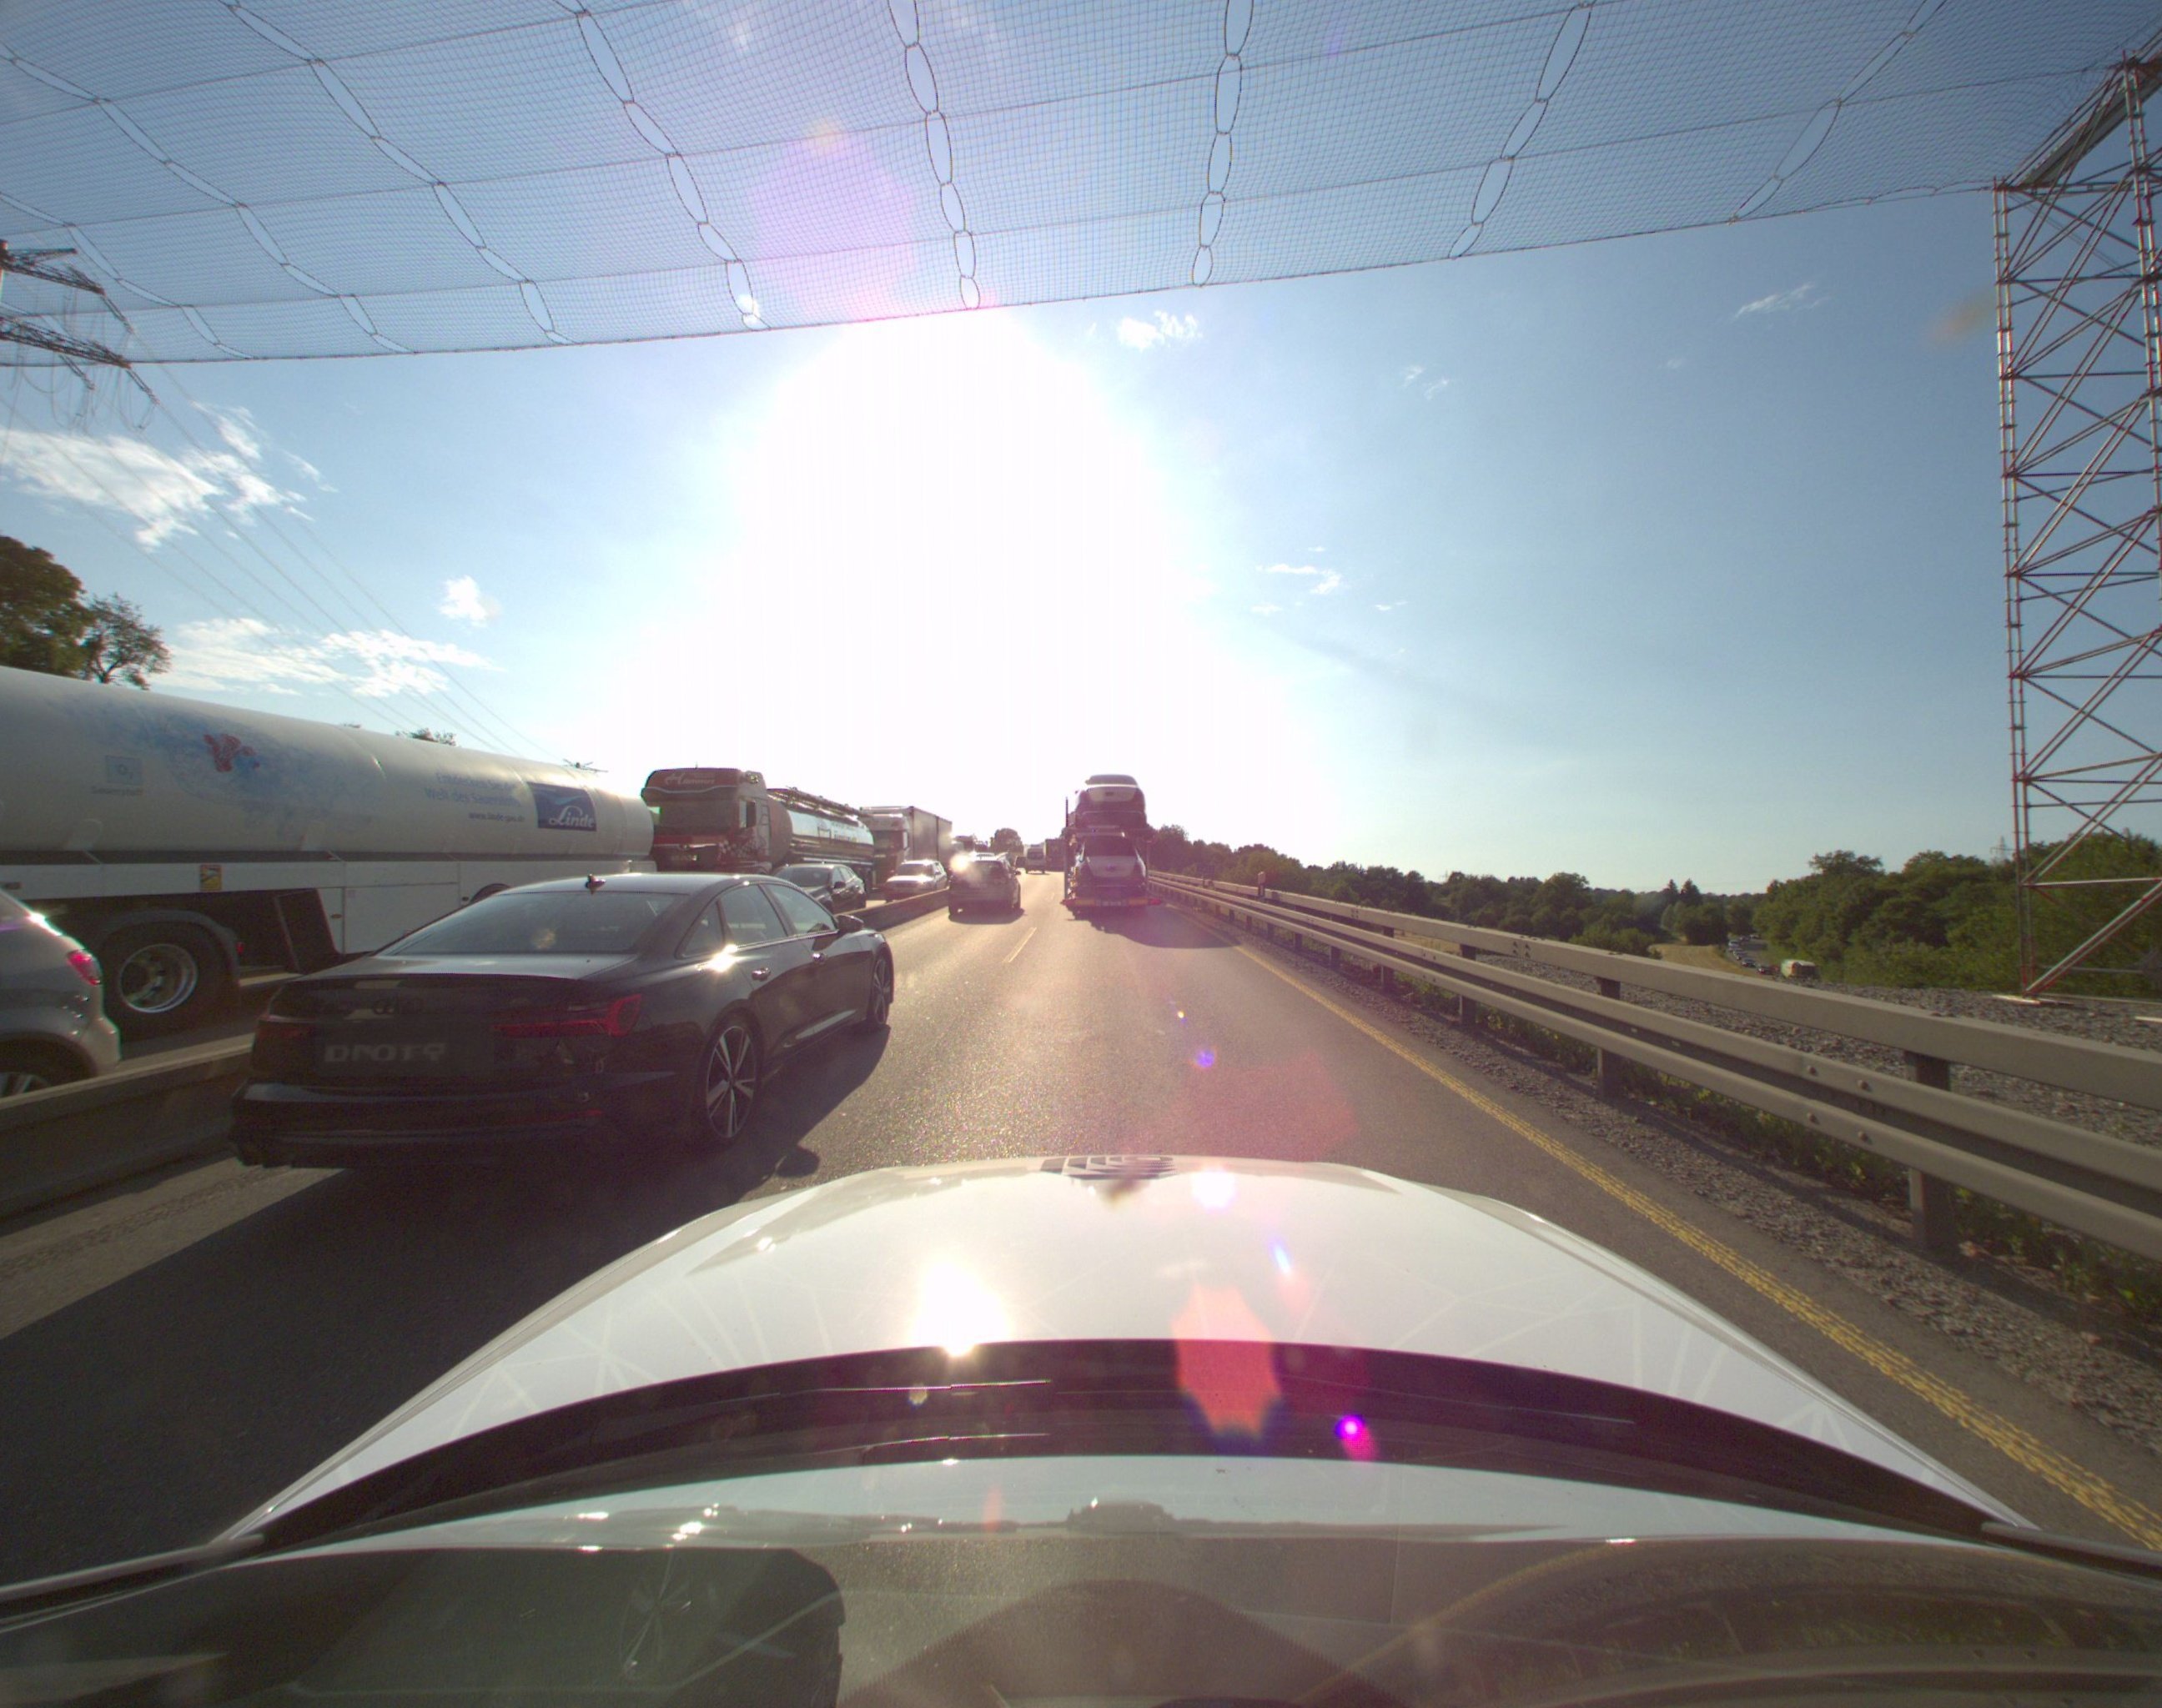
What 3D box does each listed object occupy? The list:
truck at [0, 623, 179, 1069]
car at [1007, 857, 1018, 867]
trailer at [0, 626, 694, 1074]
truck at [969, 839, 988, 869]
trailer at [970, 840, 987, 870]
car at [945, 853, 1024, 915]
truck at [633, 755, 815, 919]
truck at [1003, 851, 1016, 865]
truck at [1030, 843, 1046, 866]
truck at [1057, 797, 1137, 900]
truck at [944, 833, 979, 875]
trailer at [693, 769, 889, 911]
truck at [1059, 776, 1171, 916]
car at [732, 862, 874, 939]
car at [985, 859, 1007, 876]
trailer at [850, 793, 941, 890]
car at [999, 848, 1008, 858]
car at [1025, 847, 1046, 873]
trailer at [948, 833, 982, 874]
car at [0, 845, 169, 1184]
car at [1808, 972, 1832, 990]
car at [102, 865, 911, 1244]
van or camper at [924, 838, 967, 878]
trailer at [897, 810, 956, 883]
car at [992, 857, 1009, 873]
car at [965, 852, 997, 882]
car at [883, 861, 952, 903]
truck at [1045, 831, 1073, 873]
[{"bbox_3d":[-9.405,-0.074,4.523,2.405,3.370,5.618,-1,-1,1],"label":"truck"},{"bbox_3d":[-12.284,1.375,146.323,1.821,1.772,3.998,-1,-1,-1],"label":"car"},{"bbox_3d":[-9.160,0.032,10.532,2.298,3.362,12.055,-1,-1,1],"label":"trailer"},{"bbox_3d":[-14.311,0.094,113.473,2.500,4.066,5.652,0,-1,-6],"label":"truck"},{"bbox_3d":[-15.103,0.194,120.528,2.304,4.130,14.565,0,-1,-7],"label":"trailer"},{"bbox_3d":[-2.663,0.804,23.337,1.685,1.596,4.001,-1,-1,1],"label":"car"},{"bbox_3d":[-9.171,-0.361,21.642,2.425,3.785,5.614,0,-1,-1],"label":"truck"},{"bbox_3d":[-16.486,0.968,187.724,2.585,3.170,6.668,0,-1,-3],"label":"truck"},{"bbox_3d":[-7.182,0.125,136.751,2.524,3.648,8.899,0,-1,-1],"label":"truck"},{"bbox_3d":[0.433,-0.136,35.176,2.831,3.792,9.976,0,-1,-2],"label":"truck"},{"bbox_3d":[-10.922,0.035,75.004,2.596,3.754,6.507,0,-1,-4],"label":"truck"},{"bbox_3d":[-9.177,-0.297,27.793,2.299,3.790,12.051,-1,-1,0],"label":"trailer"},{"bbox_3d":[0.719,-0.147,25.744,2.791,3.497,10.597,0,-1,-1],"label":"truck"},{"bbox_3d":[-5.752,0.890,17.420,1.623,1.426,4.384,0,-1,-2],"label":"car"},{"bbox_3d":[-7.550,1.183,72.574,1.676,1.479,4.599,0,-1,-2],"label":"car"},{"bbox_3d":[-9.244,-0.502,41.763,2.469,4.329,10.504,0,-1,-1],"label":"trailer"},{"bbox_3d":[-15.339,-0.156,161.055,1.629,2.014,3.989,0,-1,-8],"label":"car"},{"bbox_3d":[-4.667,0.640,83.858,1.915,2.493,5.406,-1,-1,-1],"label":"car"},{"bbox_3d":[-11.411,0.076,81.005,2.515,3.725,13.952,0,-1,-5],"label":"trailer"},{"bbox_3d":[-5.923,0.744,2.522,1.745,1.587,3.941,-1,-1,-1],"label":"car"},{"bbox_3d":[108.310,18.664,119.426,1.858,2.014,4.025,-1,-1,31],"label":"car"},{"bbox_3d":[-2.722,0.799,5.599,1.927,1.399,4.962,0,0,2],"label":"car"},{"bbox_3d":[-10.309,0.324,62.542,2.403,2.891,7.609,0,-1,-3],"label":"van or camper"},{"bbox_3d":[-9.580,-0.382,51.297,2.437,4.189,8.534,0,-1,-3],"label":"trailer"},{"bbox_3d":[-8.620,1.169,87.864,1.754,1.695,4.445,0,-1,-5],"label":"car"},{"bbox_3d":[-6.805,0.878,55.871,1.812,1.925,4.831,0,-1,-2],"label":"car"},{"bbox_3d":[-5.898,0.970,29.816,1.622,1.426,4.655,-1,-1,-1],"label":"car"},{"bbox_3d":[-2.956,-0.190,106.301,3.280,5.237,9.920,0,-1,-4],"label":"truck"}]
